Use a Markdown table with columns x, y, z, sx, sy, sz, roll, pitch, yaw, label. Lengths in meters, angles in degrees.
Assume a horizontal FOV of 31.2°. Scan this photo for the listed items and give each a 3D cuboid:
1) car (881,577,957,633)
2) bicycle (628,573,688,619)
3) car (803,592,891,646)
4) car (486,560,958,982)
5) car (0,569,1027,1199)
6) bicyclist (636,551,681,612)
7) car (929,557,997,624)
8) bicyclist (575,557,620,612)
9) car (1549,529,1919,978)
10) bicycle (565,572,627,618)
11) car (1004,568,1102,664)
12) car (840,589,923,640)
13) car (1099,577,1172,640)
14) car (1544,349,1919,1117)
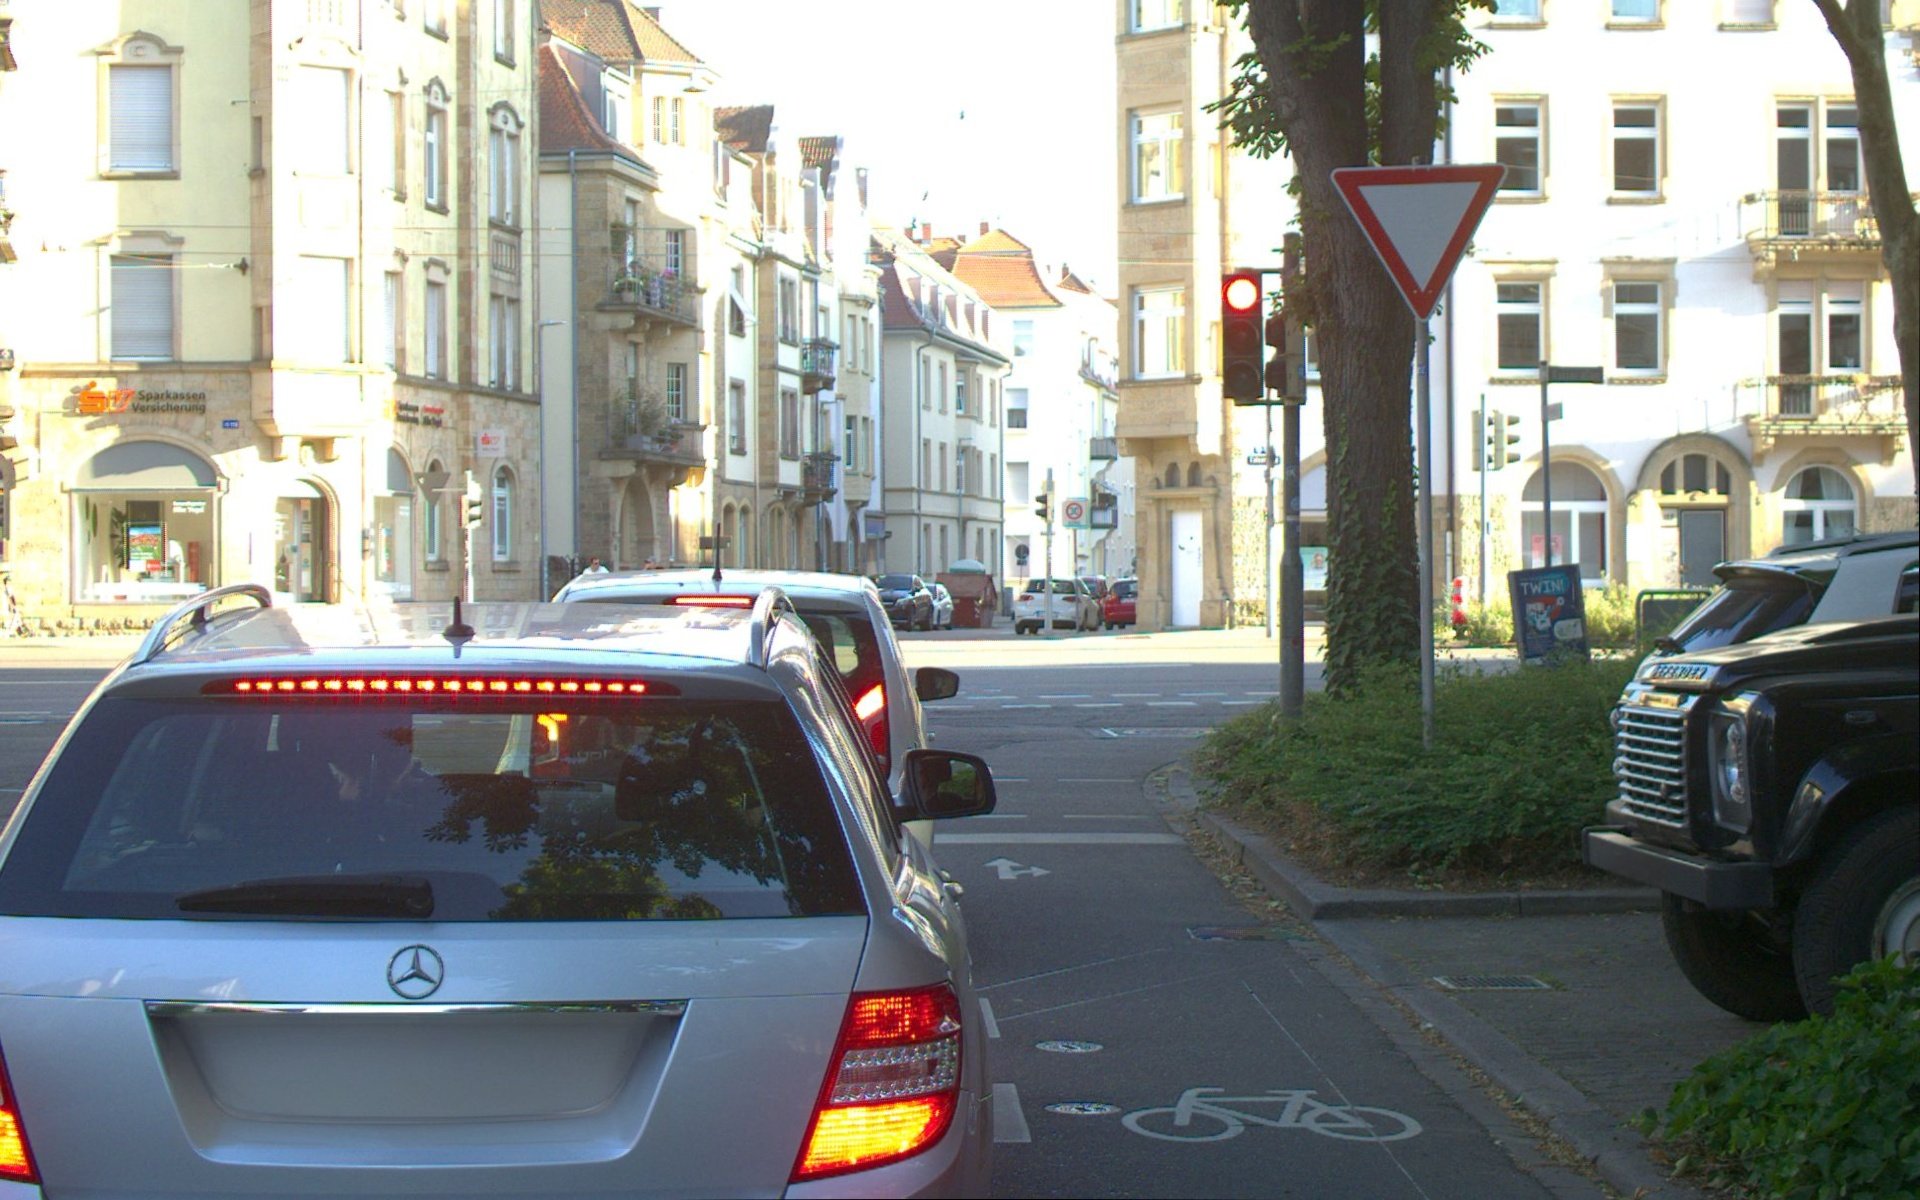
| x | y | z | sx | sy | sz | roll | pitch | yaw | label |
| --- | --- | --- | --- | --- | --- | --- | --- | --- | --- |
| -1.275 | 0.128 | 108.762 | 1.835 | 1.657 | 3.999 | 0 | 1 | 8 | car |
| -6.440 | -0.098 | 73.475 | 0.771 | 0.931 | 1.939 | 1 | 1 | 11 | bicycle |
| -3.155 | 0.531 | 97.042 | 1.835 | 1.397 | 3.999 | 0 | 1 | 8 | car |
| -0.907 | 0.569 | 14.052 | 1.619 | 1.442 | 4.345 | 0 | 1 | -2 | car |
| -0.890 | 0.678 | 6.962 | 1.777 | 1.447 | 4.548 | 0 | 1 | -2 | car |
| -6.439 | -0.391 | 73.471 | 0.771 | 1.285 | 0.752 | 1 | 1 | 11 | bicyclist |
| 0.133 | -0.342 | 117.351 | 1.787 | 2.196 | 3.999 | 0 | 1 | 8 | car |
| -7.746 | -0.330 | 73.461 | 0.771 | 1.152 | 0.752 | 1 | 1 | 11 | bicyclist |
| 4.297 | 0.500 | 13.092 | 3.723 | 1.564 | 1.709 | -1 | 0 | -4 | car |
| -7.764 | -0.108 | 73.387 | 0.771 | 0.936 | 1.939 | 1 | 1 | 11 | bicycle |
| 2.346 | 0.360 | 85.901 | 2.031 | 2.272 | 3.999 | 0 | 1 | 8 | car |
| -2.321 | 0.404 | 102.533 | 1.835 | 1.397 | 3.999 | 0 | 1 | 8 | car |
| 5.222 | 0.227 | 101.933 | 1.835 | 1.738 | 3.999 | 0 | 1 | 8 | car |
| 4.143 | 0.300 | 10.123 | 4.465 | 2.029 | 1.701 | -1 | 0 | -3 | car |
